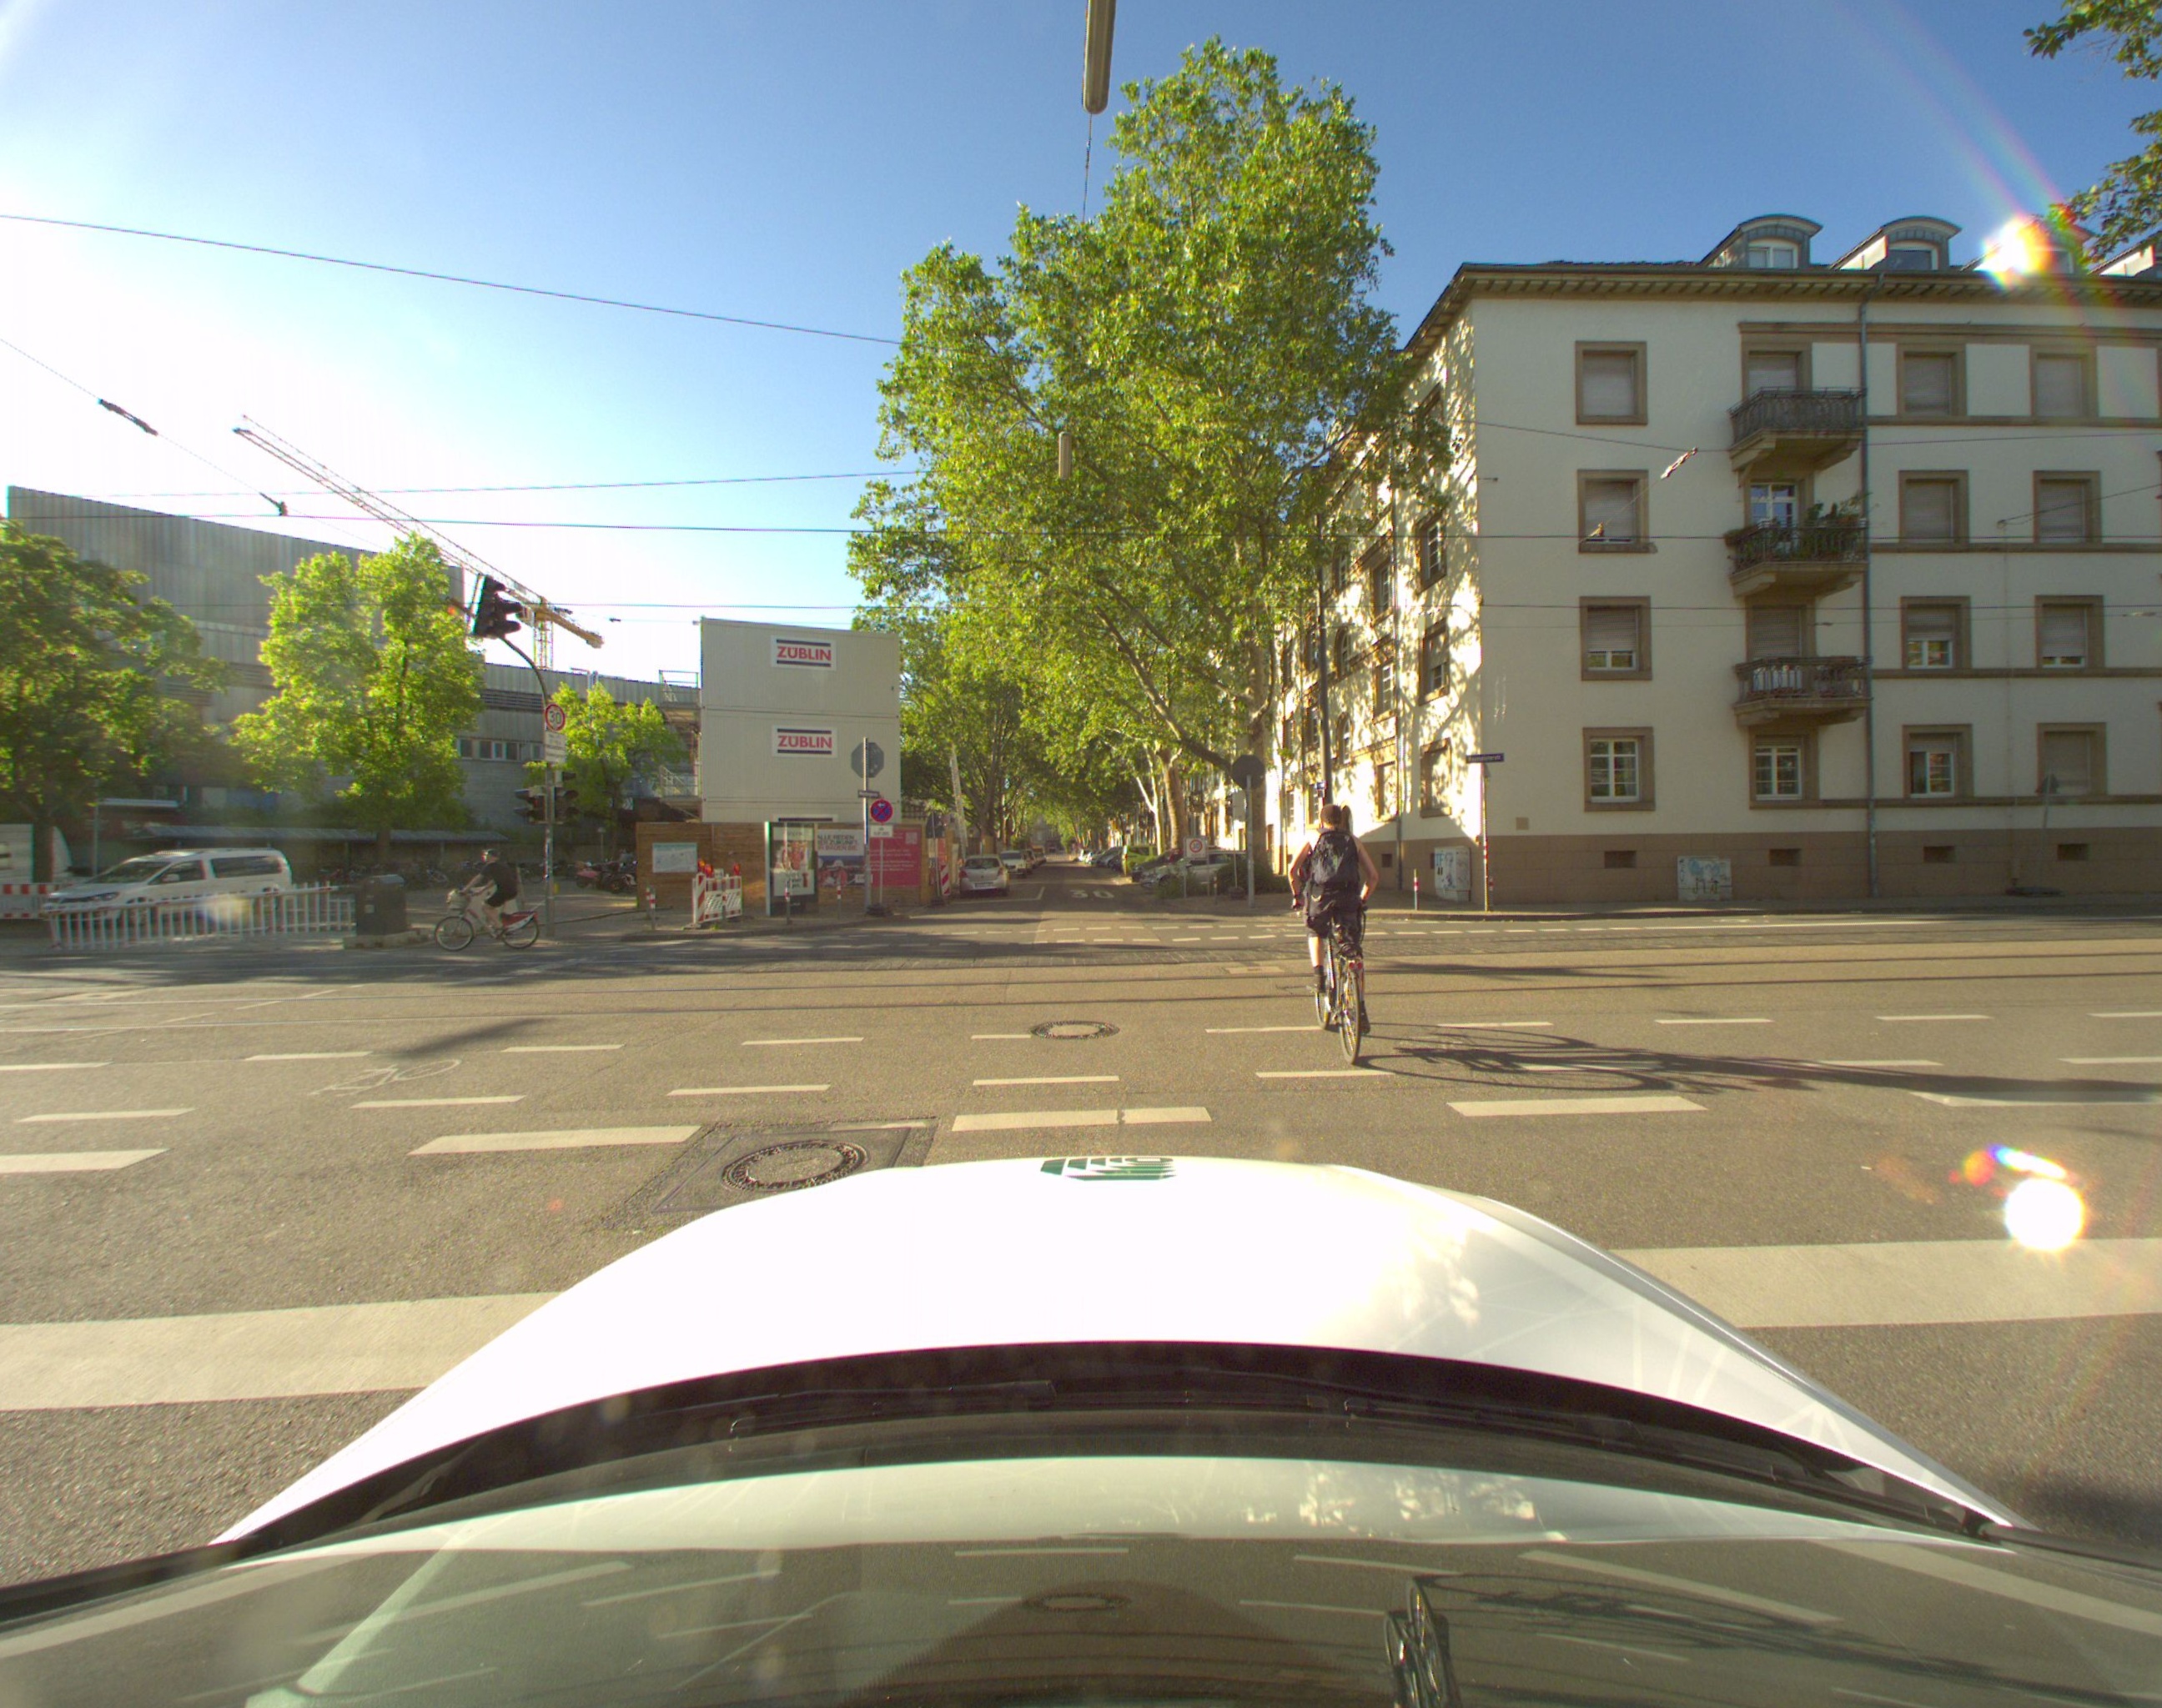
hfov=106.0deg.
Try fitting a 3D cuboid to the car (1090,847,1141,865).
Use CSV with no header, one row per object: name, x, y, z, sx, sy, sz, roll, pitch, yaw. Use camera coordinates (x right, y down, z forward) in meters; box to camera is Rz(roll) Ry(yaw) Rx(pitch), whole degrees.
car,3.080,0.190,73.274,4.451,1.571,1.726,-1,0,-3

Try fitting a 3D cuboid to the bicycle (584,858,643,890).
bicycle,-19.399,0.823,33.832,2.060,1.257,0.537,-2,1,-40

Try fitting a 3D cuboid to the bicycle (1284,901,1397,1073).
bicycle,1.977,0.945,6.422,0.685,1.016,1.914,0,0,13

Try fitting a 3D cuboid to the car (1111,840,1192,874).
car,4.086,0.155,47.510,4.452,1.836,1.726,-1,0,-4

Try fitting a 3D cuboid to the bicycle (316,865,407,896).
bicycle,-28.481,1.029,32.246,3.063,1.147,0.823,-1,1,6

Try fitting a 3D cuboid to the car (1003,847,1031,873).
car,-4.012,0.377,51.832,1.662,1.562,4.513,-1,0,-3

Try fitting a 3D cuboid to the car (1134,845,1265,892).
car,4.228,0.506,29.541,4.451,1.571,1.726,-1,0,-3

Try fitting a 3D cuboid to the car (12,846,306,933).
car,-24.297,0.820,21.847,1.995,1.892,4.953,0,2,3

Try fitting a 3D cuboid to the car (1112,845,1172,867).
car,4.668,0.144,62.893,4.451,1.571,1.726,-1,0,-3

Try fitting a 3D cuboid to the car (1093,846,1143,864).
car,3.391,0.049,75.607,4.451,1.571,1.726,-1,0,-3

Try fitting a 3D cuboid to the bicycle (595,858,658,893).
bicycle,-17.439,0.803,31.296,2.060,1.257,0.466,-2,1,-40

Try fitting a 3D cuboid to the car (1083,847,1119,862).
car,2.576,0.042,105.913,4.451,1.898,1.726,-1,0,-3

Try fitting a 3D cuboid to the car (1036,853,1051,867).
car,-4.594,0.717,99.049,1.662,1.562,4.214,-1,0,-3

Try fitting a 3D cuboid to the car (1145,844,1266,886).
car,4.825,0.408,32.023,4.451,1.500,1.726,-1,0,-3

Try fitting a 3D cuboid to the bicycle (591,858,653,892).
bicycle,-18.050,0.809,32.052,2.060,1.257,0.466,-2,1,-40

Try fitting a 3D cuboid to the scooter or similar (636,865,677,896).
scooter or similar,-15.453,0.957,29.693,0.381,1.020,1.494,-1,1,17

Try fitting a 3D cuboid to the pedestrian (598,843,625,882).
pedestrian,-24.910,0.450,43.213,0.796,2.013,0.941,-1,0,8

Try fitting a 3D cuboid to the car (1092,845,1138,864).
car,3.445,0.056,82.931,4.451,1.898,1.726,-1,0,-3

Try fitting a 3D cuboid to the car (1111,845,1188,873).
car,4.122,0.305,49.528,4.451,1.571,1.726,-1,0,-3

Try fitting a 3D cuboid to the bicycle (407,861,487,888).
bicycle,-28.037,0.906,36.020,3.063,1.147,0.823,-1,1,6

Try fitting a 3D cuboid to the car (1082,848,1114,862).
car,2.415,0.162,118.081,4.451,1.898,1.726,-1,0,-3

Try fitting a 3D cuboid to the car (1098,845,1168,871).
car,3.381,0.238,53.437,4.451,1.571,1.726,-1,0,-3

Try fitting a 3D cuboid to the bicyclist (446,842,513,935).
bicyclist,-11.180,0.625,15.160,0.812,1.658,0.678,-1,0,-20

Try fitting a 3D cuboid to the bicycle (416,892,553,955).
bicycle,-11.068,1.276,15.197,1.922,1.018,0.678,-1,0,-20

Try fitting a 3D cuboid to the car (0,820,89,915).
car,-30.331,0.441,21.396,1.990,2.530,5.374,-1,3,-4

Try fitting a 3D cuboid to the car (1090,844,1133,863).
car,3.183,-0.056,85.688,4.451,1.898,1.726,-1,0,-3

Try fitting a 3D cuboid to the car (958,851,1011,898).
car,-3.493,0.696,30.012,1.640,1.494,3.995,-3,0,-3

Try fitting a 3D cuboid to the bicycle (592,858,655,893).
bicycle,-17.752,0.807,31.652,2.060,1.257,0.466,-2,1,-40

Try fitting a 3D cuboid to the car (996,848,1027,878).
car,-3.899,0.476,46.131,1.662,1.562,3.995,-1,0,-3

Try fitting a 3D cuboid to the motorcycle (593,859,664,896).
motorcycle,-16.859,0.850,30.375,2.223,1.257,0.537,-2,1,-40

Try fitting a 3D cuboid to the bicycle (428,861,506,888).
bicycle,-27.926,0.913,37.053,3.063,1.147,0.823,-1,1,6

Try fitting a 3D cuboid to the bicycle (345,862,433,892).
bicycle,-28.363,0.953,33.392,3.063,1.147,0.823,-1,1,6

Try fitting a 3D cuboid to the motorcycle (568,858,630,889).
motorcycle,-20.712,0.815,35.028,2.223,1.257,0.537,-2,1,-40

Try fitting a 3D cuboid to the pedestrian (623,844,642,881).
pedestrian,-24.429,0.447,44.386,0.804,2.013,1.022,-1,1,-26

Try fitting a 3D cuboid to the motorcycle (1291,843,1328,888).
motorcycle,7.138,0.343,25.508,0.513,1.332,1.761,-1,0,-4

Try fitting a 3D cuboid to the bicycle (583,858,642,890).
bicycle,-19.721,0.828,34.327,2.060,1.257,0.537,-2,1,-40

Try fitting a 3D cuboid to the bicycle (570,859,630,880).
bicycle,-28.060,0.886,47.514,3.063,1.147,0.823,-1,1,6

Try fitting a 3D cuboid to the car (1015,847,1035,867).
car,-4.693,0.234,68.557,1.662,1.562,4.610,-1,0,-3

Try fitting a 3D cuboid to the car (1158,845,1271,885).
car,5.593,0.428,34.425,4.451,1.571,1.726,-1,0,-3

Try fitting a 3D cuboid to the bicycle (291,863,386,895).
bicycle,-28.479,0.937,31.248,3.063,1.147,0.823,-1,1,6

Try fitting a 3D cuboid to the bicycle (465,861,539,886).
bicycle,-27.650,0.926,38.911,3.063,1.147,0.823,-1,1,6

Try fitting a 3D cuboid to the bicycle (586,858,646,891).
bicycle,-19.022,0.820,33.371,2.060,1.257,0.537,-2,1,-40

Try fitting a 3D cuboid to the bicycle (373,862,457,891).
bicycle,-28.172,0.960,34.456,3.063,1.147,0.823,-1,1,6

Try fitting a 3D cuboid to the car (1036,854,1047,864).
car,-6.243,0.755,129.210,1.662,1.562,4.214,-1,0,-3

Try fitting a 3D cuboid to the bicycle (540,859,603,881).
bicycle,-27.883,0.865,44.571,3.063,1.147,0.823,-1,1,6

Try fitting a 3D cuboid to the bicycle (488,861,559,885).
bicycle,-27.431,0.934,40.099,3.063,1.147,0.823,-1,1,6

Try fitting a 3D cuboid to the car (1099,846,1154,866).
car,3.767,0.179,68.535,4.451,1.571,1.726,-1,0,-3

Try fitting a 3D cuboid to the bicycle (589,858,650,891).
bicycle,-18.651,0.816,32.916,2.060,1.257,0.537,-2,1,-40

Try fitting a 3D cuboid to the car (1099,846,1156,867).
car,3.709,0.173,66.057,4.451,1.571,1.726,-1,0,-3

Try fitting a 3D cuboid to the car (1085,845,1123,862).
car,2.743,-0.060,98.488,4.451,1.898,1.726,-1,0,-3

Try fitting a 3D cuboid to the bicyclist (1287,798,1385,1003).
bicyclist,1.976,0.338,6.394,0.671,1.513,0.671,0,0,12

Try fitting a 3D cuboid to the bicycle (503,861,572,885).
bicycle,-27.370,0.941,41.035,3.063,1.147,0.823,-1,1,6

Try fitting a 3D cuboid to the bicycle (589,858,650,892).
bicycle,-18.370,0.812,32.444,2.060,1.257,0.466,-2,1,-40

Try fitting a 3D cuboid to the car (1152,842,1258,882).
car,5.522,0.357,36.510,4.451,1.671,1.726,-1,0,-3
